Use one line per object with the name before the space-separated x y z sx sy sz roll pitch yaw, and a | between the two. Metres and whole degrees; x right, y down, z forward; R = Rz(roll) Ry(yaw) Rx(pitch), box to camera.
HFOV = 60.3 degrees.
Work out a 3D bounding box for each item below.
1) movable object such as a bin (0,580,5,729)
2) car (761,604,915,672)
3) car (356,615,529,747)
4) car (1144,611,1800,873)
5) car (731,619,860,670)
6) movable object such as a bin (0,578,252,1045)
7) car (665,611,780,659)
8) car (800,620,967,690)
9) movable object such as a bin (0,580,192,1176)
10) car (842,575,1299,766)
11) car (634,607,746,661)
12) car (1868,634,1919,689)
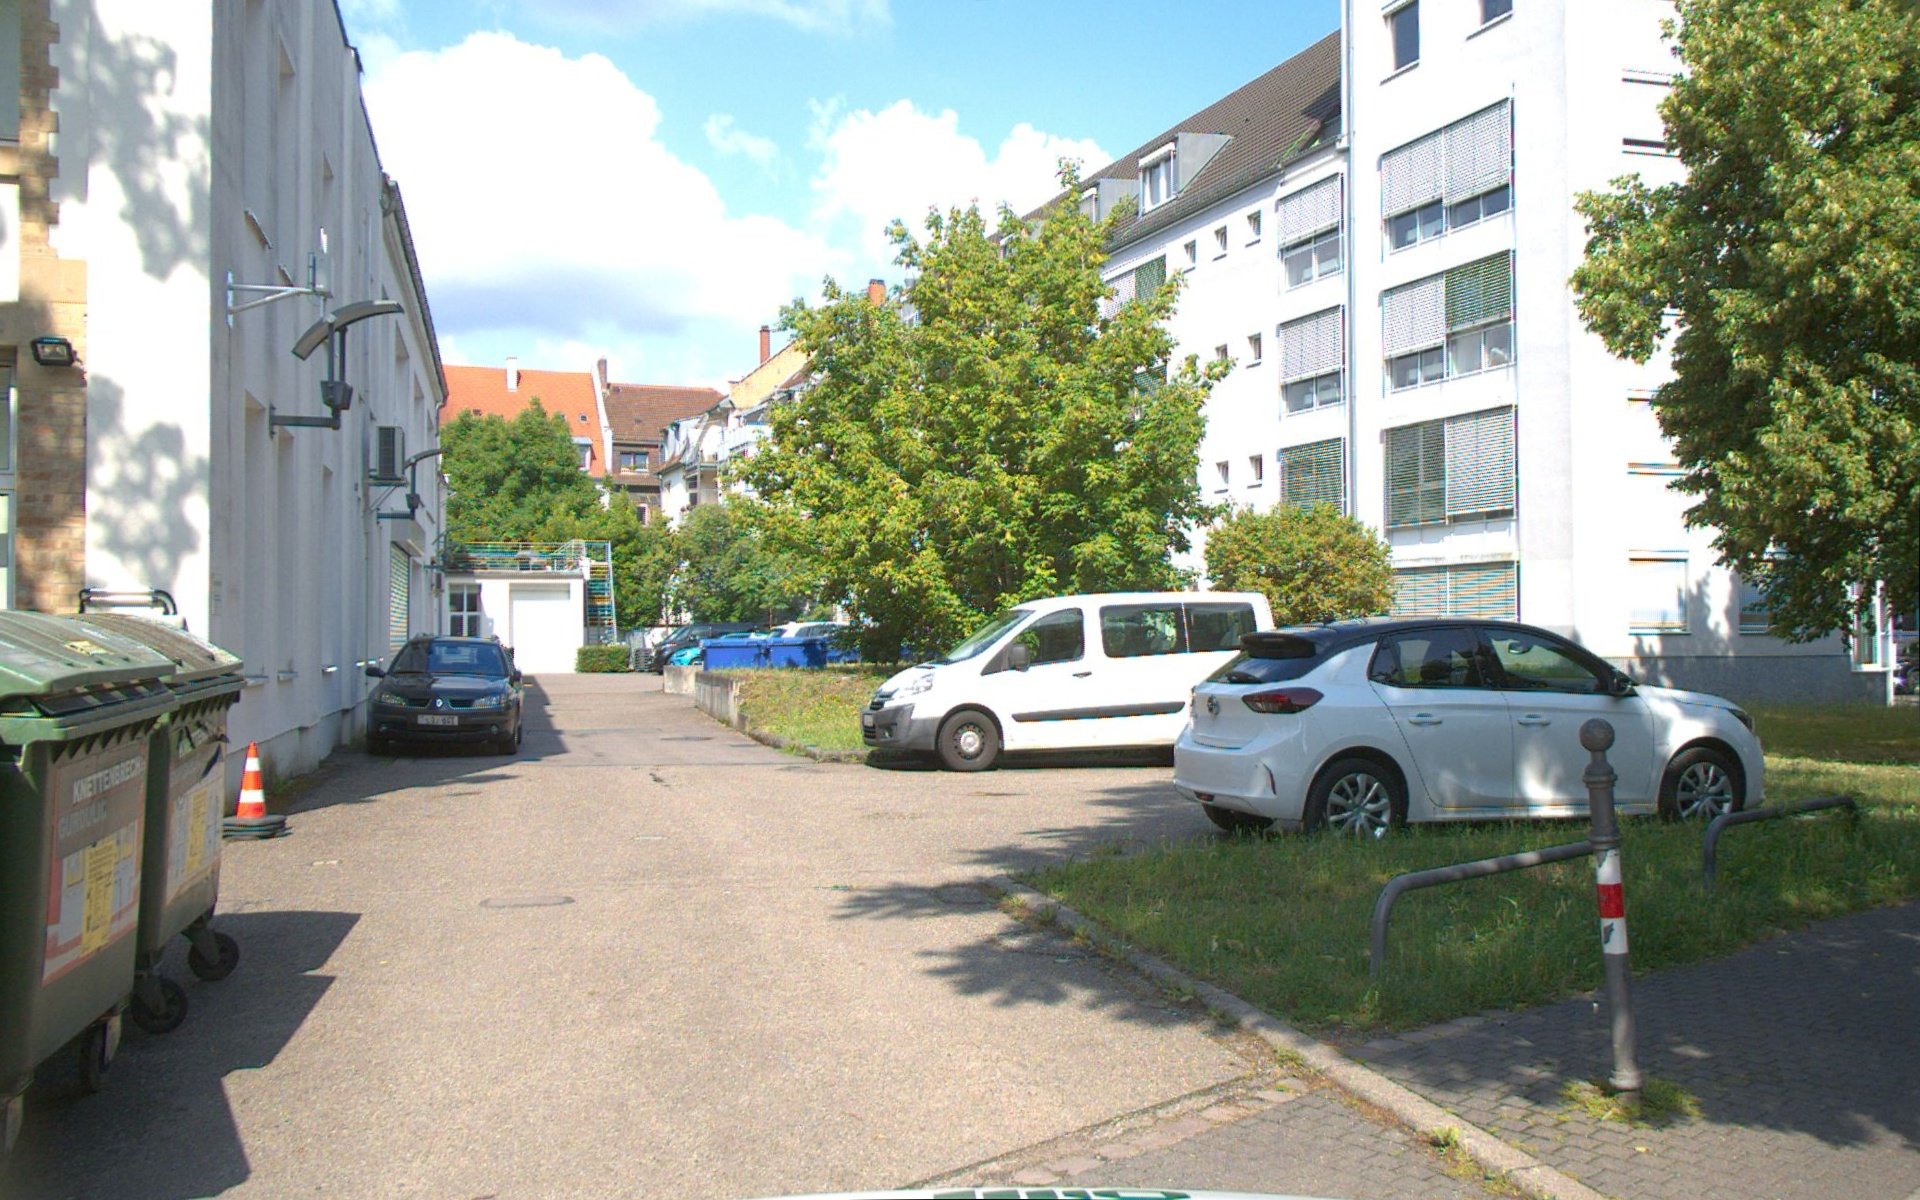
movable object such as a bin | -2.549 0.697 3.276 1.088 1.477 1.221 2 1 -31
car | -3.459 1.045 46.739 3.930 1.776 1.938 0 2 -22
car | -6.507 0.964 21.078 1.848 1.467 4.322 2 -1 -16
car | 3.327 0.826 10.918 3.841 1.445 1.751 0 1 -17
car | -5.381 1.433 54.128 3.930 1.469 1.619 -1 4 -22
movable object such as a bin | -3.310 0.688 6.010 1.081 1.477 1.338 3 1 -14
car | -8.675 1.260 60.400 3.930 1.601 1.619 0 4 -22
car | -2.047 1.457 43.925 4.054 1.634 1.744 3 1 -21
movable object such as a bin | -2.985 0.673 4.626 1.203 1.477 1.278 3 -1 -13
car | 1.222 0.777 18.908 4.856 1.999 1.992 1 -1 -15
car | -10.319 1.285 63.148 3.930 1.848 1.653 3 1 -22
car | 28.459 1.743 47.710 3.839 1.445 1.752 0 1 -15
